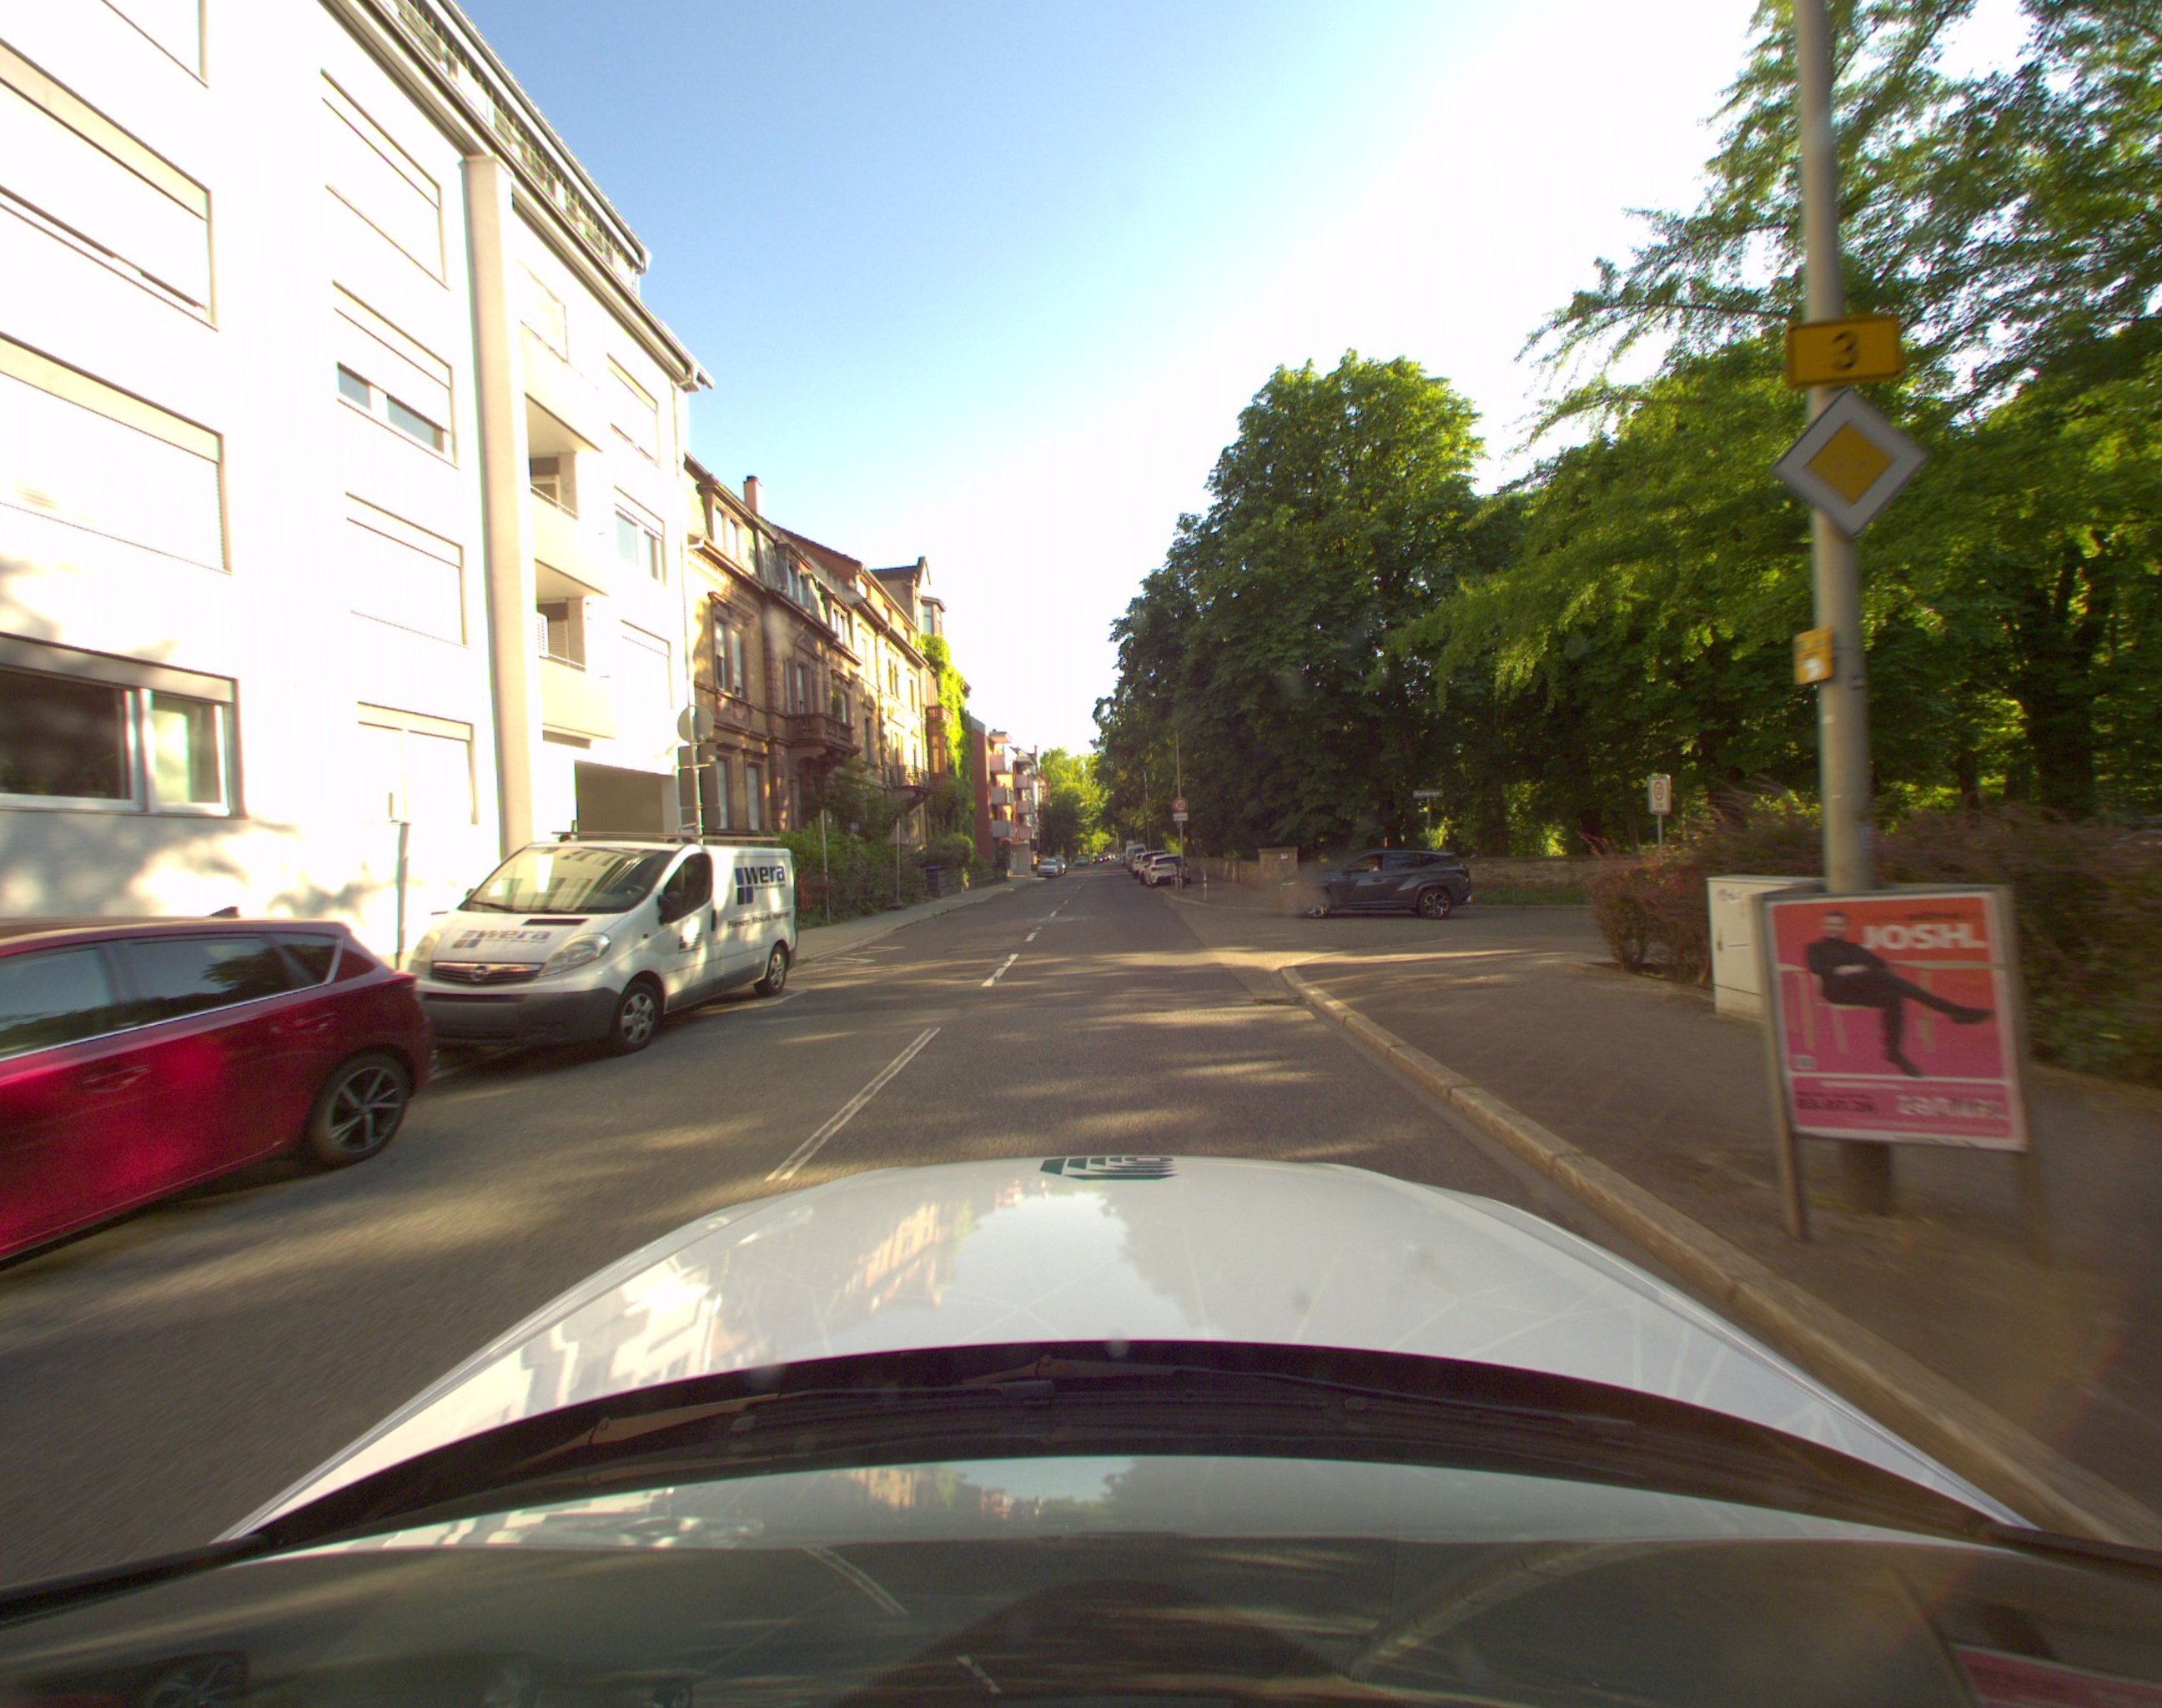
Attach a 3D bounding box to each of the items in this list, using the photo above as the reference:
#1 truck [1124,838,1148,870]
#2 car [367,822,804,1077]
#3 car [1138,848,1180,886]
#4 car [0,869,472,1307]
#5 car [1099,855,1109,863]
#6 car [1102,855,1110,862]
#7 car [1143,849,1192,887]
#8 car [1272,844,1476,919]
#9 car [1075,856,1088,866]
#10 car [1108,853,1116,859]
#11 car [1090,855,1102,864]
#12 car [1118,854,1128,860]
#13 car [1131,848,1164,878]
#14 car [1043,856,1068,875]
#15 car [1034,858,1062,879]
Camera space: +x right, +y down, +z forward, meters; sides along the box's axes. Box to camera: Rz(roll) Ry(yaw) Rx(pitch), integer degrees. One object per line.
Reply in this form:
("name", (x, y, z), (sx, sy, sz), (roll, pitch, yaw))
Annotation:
("truck", (5.298, -0.061, 78.964), (1.986, 2.896, 4.472), (-3, 1, 2))
("car", (-4.790, 0.762, 8.904), (1.786, 2.010, 4.698), (-2, 0, 1))
("car", (4.078, 0.652, 43.297), (1.985, 1.737, 4.004), (-3, 1, 3))
("car", (-4.978, 0.938, 3.391), (1.696, 1.619, 4.118), (-2, 0, 1))
("car", (5.154, 1.118, 182.523), (1.986, 1.491, 4.473), (-3, 1, 2))
("car", (6.229, 1.154, 200.648), (1.986, 1.491, 4.473), (-3, 1, 2))
("car", (3.966, 0.621, 37.813), (1.985, 1.517, 4.004), (-3, 1, 3))
("car", (6.990, 0.649, 19.888), (4.409, 1.653, 2.006), (-1, 1, 10))
("car", (0.148, 1.210, 136.962), (1.986, 1.491, 4.473), (-3, 1, 2))
("car", (8.543, 0.547, 223.737), (1.986, 1.491, 4.473), (-3, 1, 2))
("car", (2.757, 1.032, 150.023), (1.986, 1.491, 4.473), (-3, 1, 2))
("car", (10.596, 0.777, 206.481), (1.988, 1.491, 4.468), (-3, 1, -1))
("car", (4.390, 0.581, 53.955), (1.985, 1.737, 4.004), (-3, 1, 3))
("car", (-2.393, 1.075, 78.074), (1.986, 1.491, 4.473), (-3, 1, 2))
("car", (-2.769, 1.209, 70.150), (1.986, 1.491, 4.473), (-3, 1, 2))
